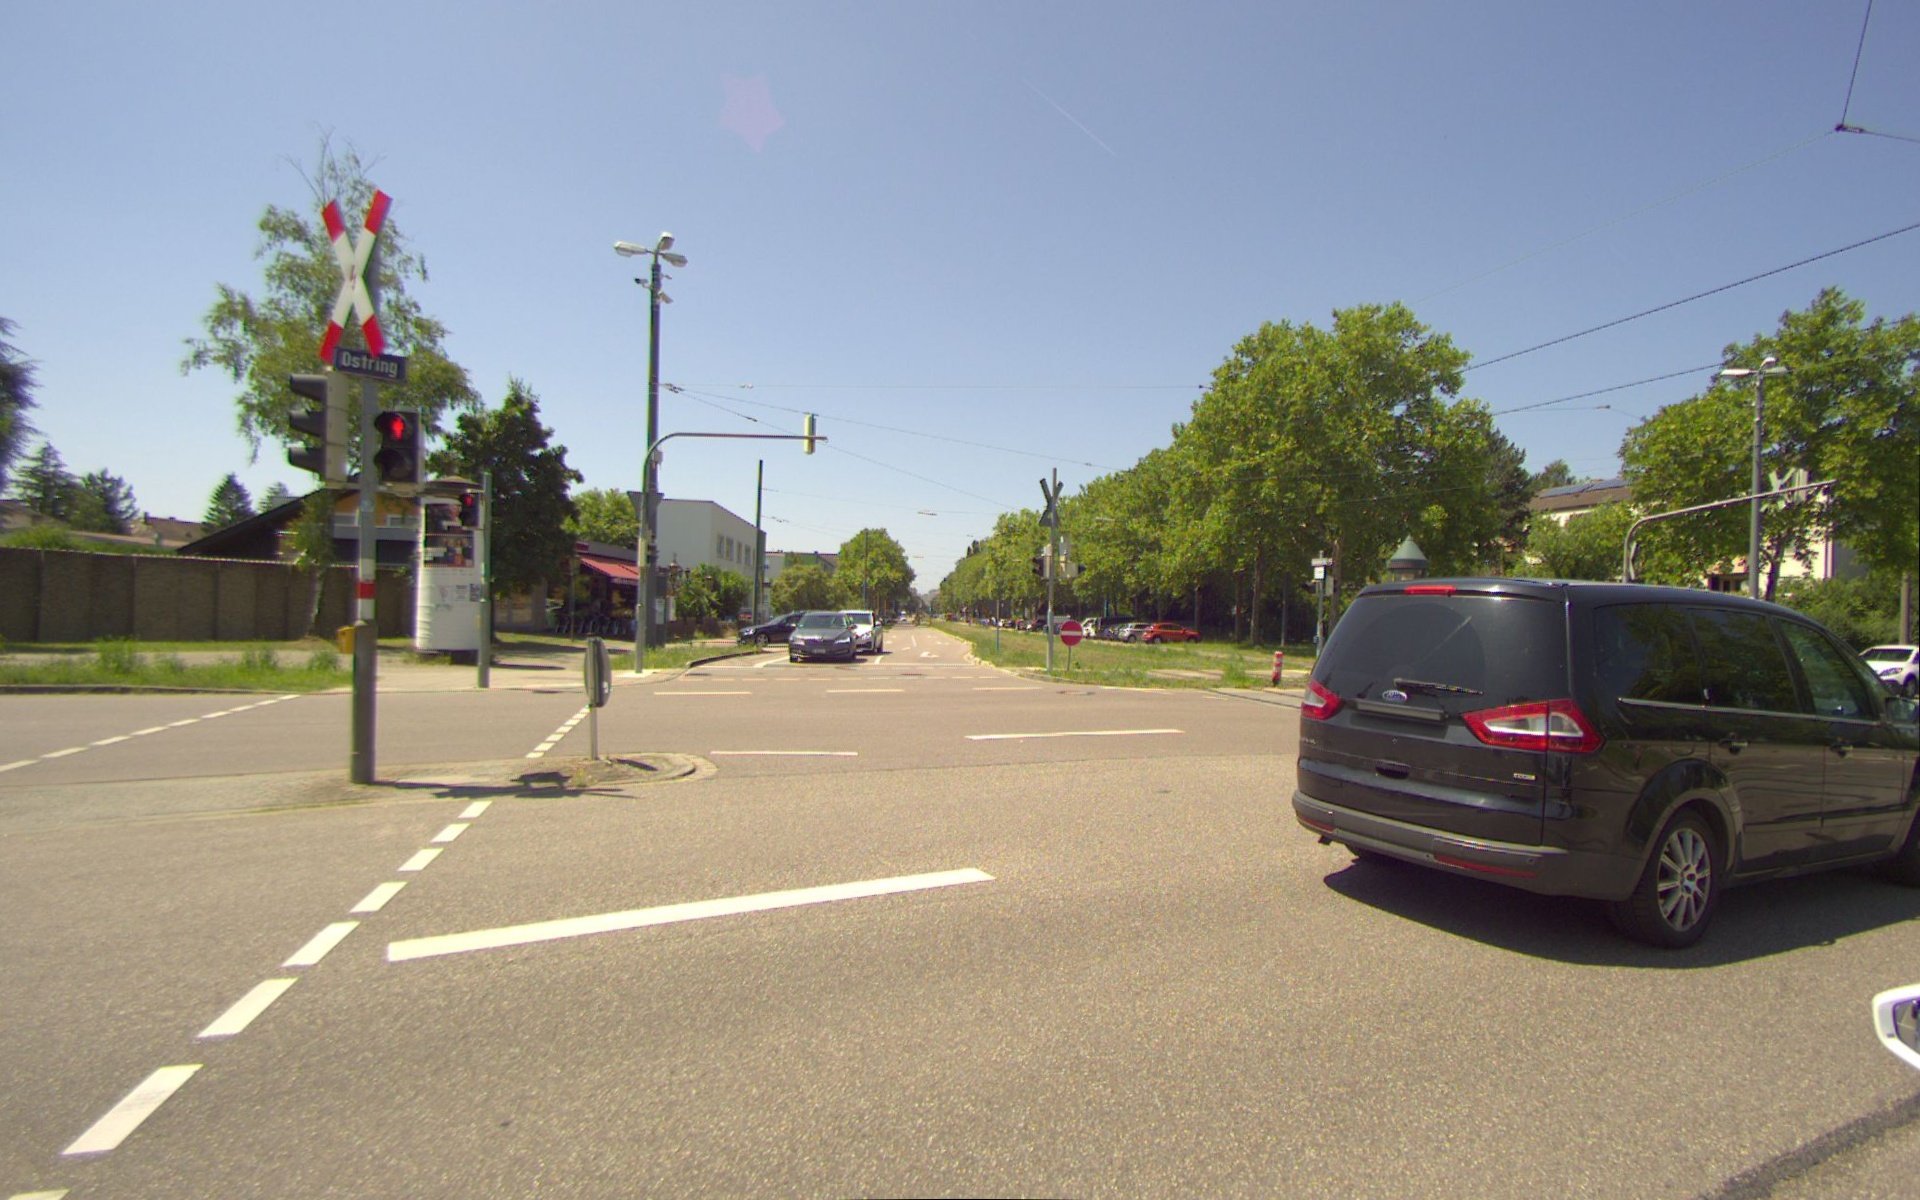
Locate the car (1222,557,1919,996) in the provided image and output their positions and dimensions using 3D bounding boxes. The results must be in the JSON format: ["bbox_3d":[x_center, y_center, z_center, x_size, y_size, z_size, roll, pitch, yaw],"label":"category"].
[{"bbox_3d":[3.948,0.789,6.002,4.591,1.779,1.846,2,-1,-29],"label":"car"}]

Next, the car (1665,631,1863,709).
[{"bbox_3d":[18.186,1.566,22.708,4.243,1.559,1.902,2,-1,-27],"label":"car"}]

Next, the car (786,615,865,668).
[{"bbox_3d":[-3.939,1.188,30.111,1.851,1.399,4.670,2,-1,-2],"label":"car"}]

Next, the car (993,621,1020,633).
[{"bbox_3d":[6.385,3.685,137.200,3.484,1.415,1.498,2,-1,-7],"label":"car"}]

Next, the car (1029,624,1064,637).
[{"bbox_3d":[9.470,3.343,110.200,3.484,1.415,1.498,2,-1,-7],"label":"car"}]

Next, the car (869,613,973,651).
[{"bbox_3d":[-1.768,1.495,46.274,4.518,1.672,1.769,2,-1,-32],"label":"car"}]

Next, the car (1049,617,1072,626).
[{"bbox_3d":[12.287,2.602,123.155,2.669,1.007,1.008,2,-1,-6],"label":"car"}]

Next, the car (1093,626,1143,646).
[{"bbox_3d":[12.184,2.764,77.657,3.484,1.415,1.498,2,-1,-7],"label":"car"}]

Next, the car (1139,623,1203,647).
[{"bbox_3d":[14.690,2.414,69.992,4.061,1.415,1.457,3,1,-8],"label":"car"}]

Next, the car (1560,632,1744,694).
[{"bbox_3d":[18.425,1.655,26.729,4.682,1.459,1.943,2,-1,-25],"label":"car"}]

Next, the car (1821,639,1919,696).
[{"bbox_3d":[29.566,2.127,31.807,4.341,1.636,1.783,2,-1,-23],"label":"car"}]

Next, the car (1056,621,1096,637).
[{"bbox_3d":[10.940,2.715,94.577,3.484,1.415,1.498,2,-1,-7],"label":"car"}]

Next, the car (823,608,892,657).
[{"bbox_3d":[-3.637,1.130,36.406,2.174,1.626,4.460,2,-1,-3],"label":"car"}]
